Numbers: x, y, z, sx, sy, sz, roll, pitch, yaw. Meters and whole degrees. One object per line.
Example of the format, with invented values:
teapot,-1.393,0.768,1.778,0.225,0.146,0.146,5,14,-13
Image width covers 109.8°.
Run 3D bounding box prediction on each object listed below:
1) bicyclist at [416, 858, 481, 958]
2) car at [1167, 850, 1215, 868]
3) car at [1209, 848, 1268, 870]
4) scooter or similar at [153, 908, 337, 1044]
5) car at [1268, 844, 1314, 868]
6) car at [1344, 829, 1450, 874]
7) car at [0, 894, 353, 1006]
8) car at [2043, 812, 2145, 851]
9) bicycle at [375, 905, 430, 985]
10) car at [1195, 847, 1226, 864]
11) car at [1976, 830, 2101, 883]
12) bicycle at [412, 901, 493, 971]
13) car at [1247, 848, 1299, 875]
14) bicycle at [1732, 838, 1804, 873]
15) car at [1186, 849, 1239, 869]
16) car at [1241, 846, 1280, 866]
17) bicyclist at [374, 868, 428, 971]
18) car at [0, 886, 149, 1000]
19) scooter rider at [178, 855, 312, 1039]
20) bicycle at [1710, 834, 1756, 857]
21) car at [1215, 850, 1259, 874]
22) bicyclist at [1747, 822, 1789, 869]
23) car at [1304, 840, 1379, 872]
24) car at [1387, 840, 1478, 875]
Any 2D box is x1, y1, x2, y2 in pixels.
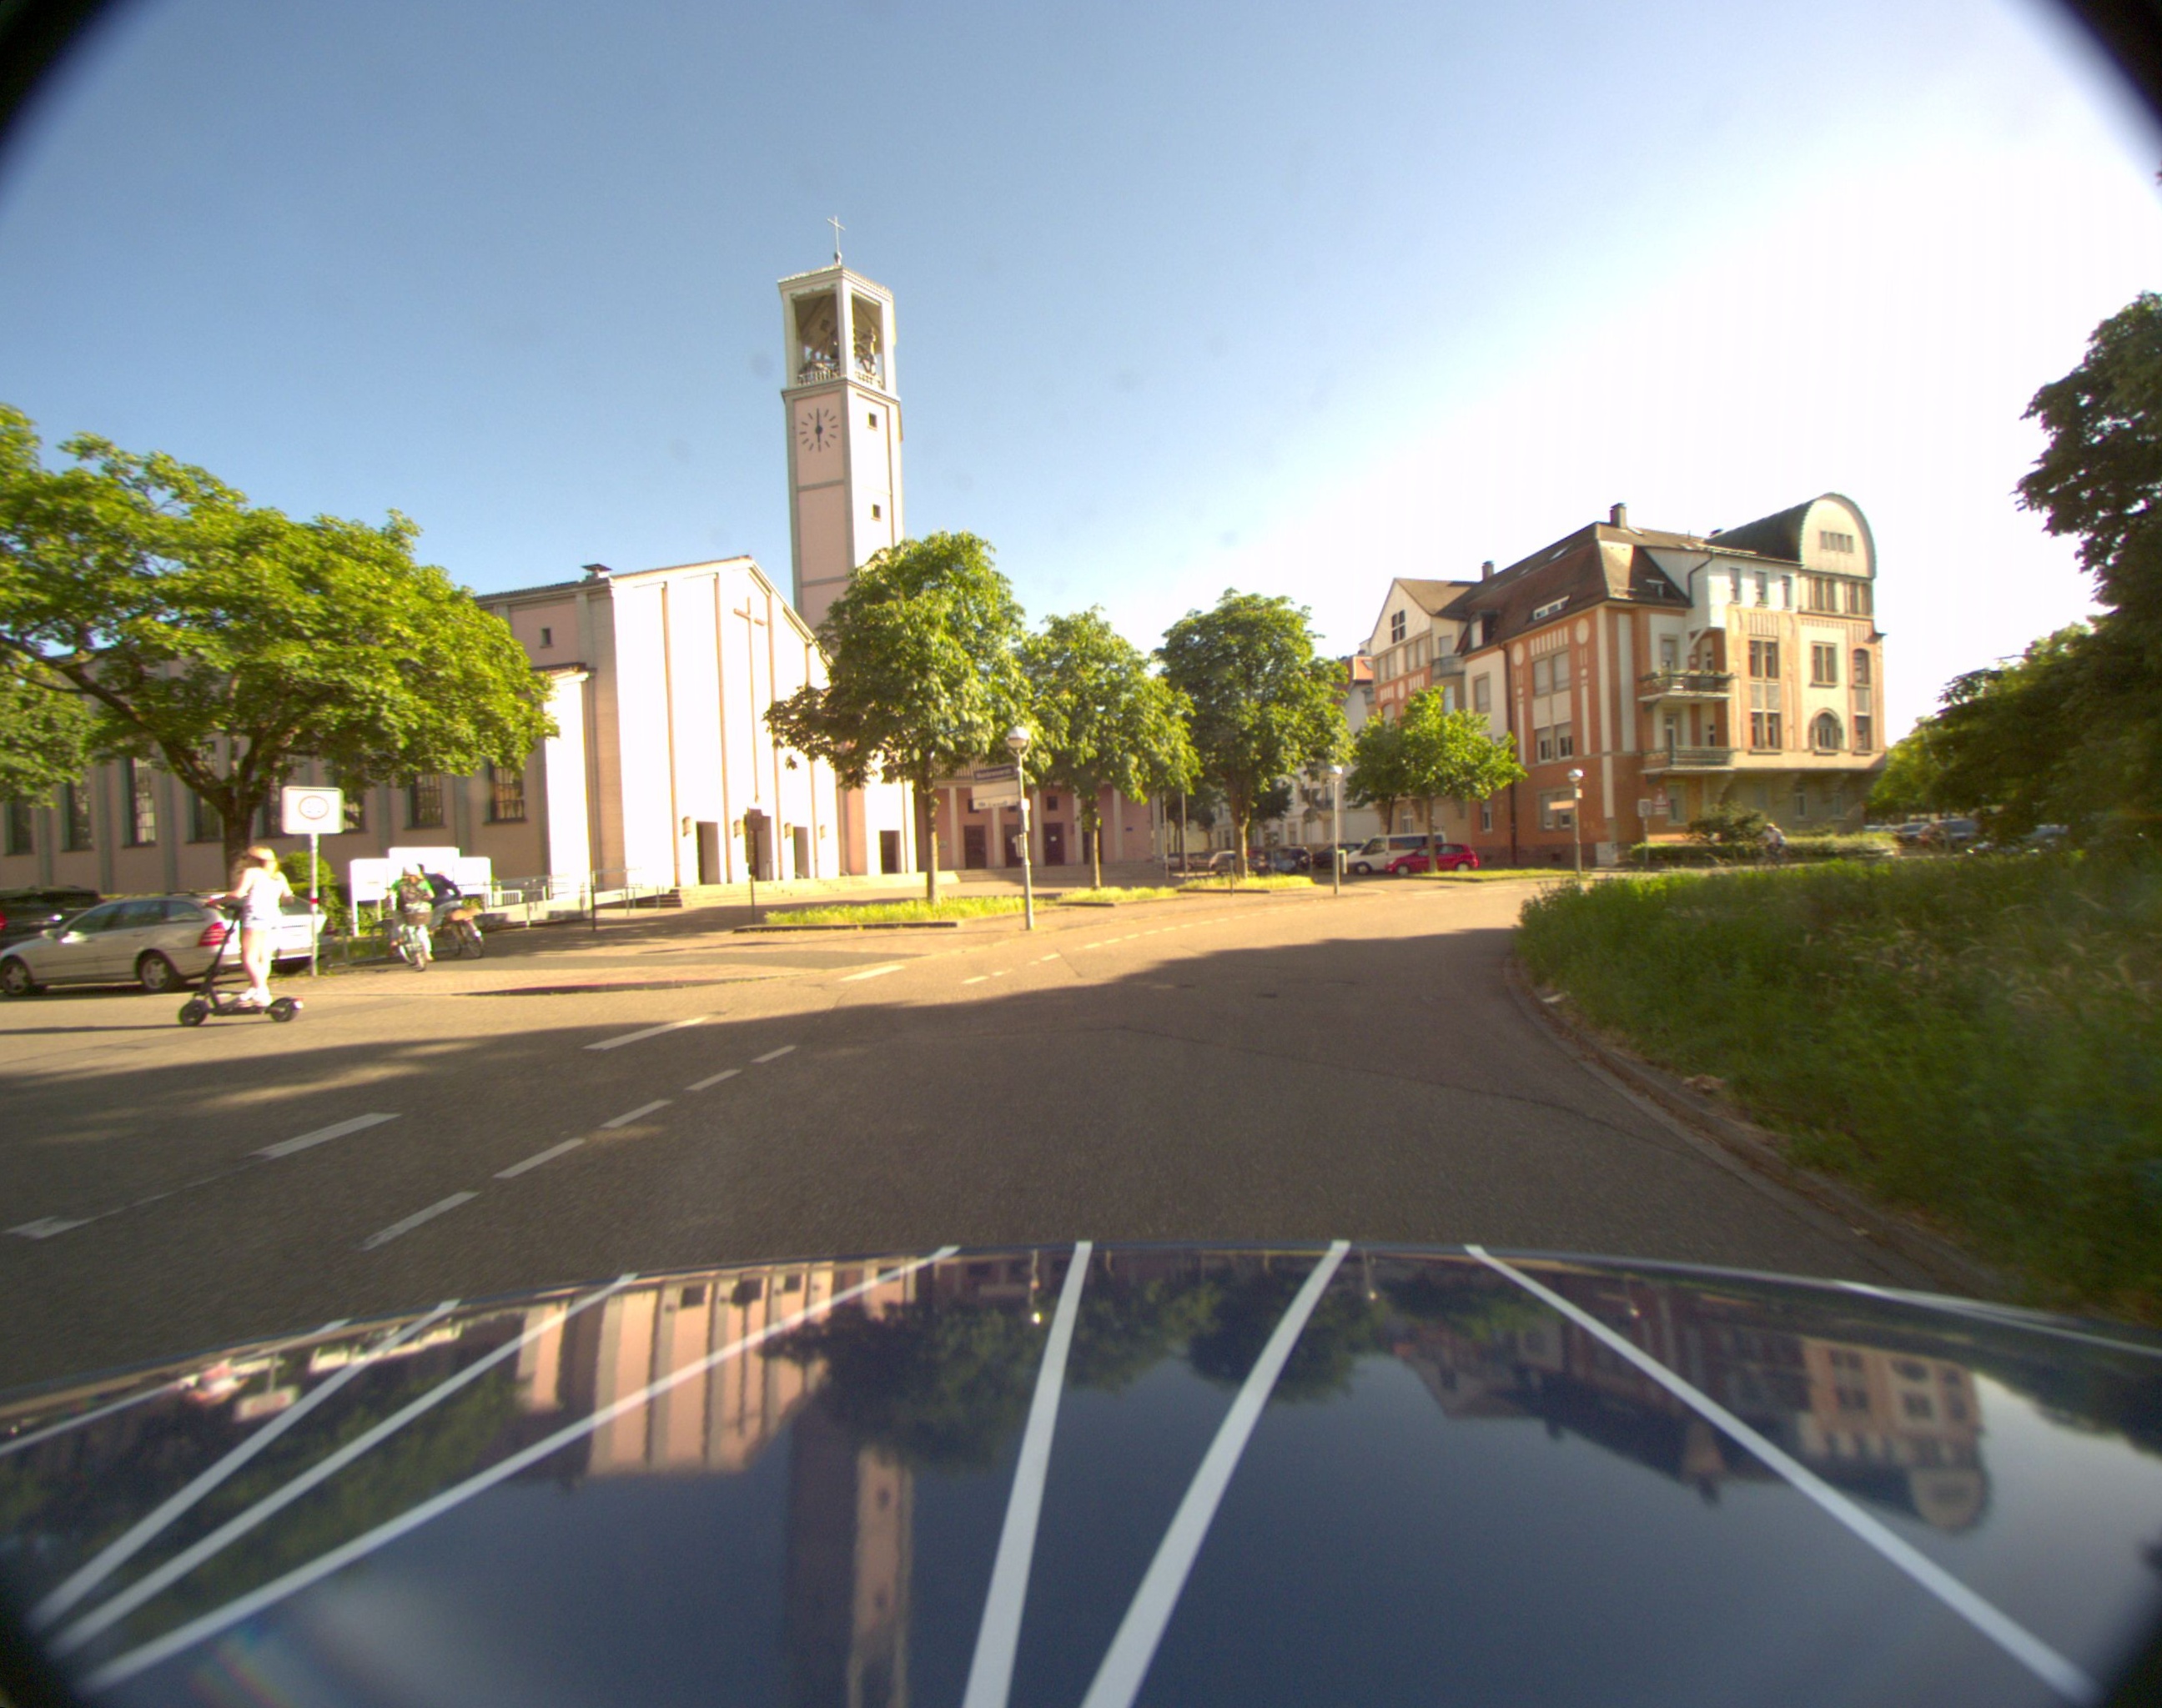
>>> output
bicyclist,-11.308,0.950,13.579,0.721,1.705,0.647,-1,2,36
car,9.969,0.448,68.973,3.946,1.488,1.764,-2,1,26
car,11.806,0.352,57.035,3.946,1.488,1.764,-2,1,26
scooter or similar,-8.725,1.245,7.972,1.106,1.275,0.632,-2,0,-7
car,15.455,0.111,56.073,1.761,1.648,3.952,-2,0,-8
car,15.709,-0.124,37.807,4.694,2.033,1.997,-2,1,24
car,-14.004,1.436,11.643,4.332,1.407,1.811,-2,0,9
car,41.428,-0.909,31.177,1.793,1.426,4.217,-3,-1,44
bicycle,-10.898,1.412,12.205,0.597,1.101,1.858,-2,0,-42
car,12.645,0.125,74.258,1.761,1.608,3.952,-2,0,-8
car,29.261,0.053,23.349,1.793,1.426,4.217,-3,-1,44
bicycle,-11.205,1.423,13.531,1.712,1.101,0.647,-2,2,35
car,11.134,0.428,44.361,1.614,1.414,3.611,-2,0,-9
bicycle,25.527,0.059,28.260,1.868,1.191,0.765,-3,1,5
car,10.959,0.401,63.156,3.946,1.488,1.764,-2,1,26
car,14.573,0.152,61.844,1.761,1.447,3.952,-2,0,-8
bicyclist,-10.892,1.024,12.184,0.597,1.572,0.802,-2,0,-42
car,-18.946,1.513,12.984,4.332,1.718,1.811,-2,0,9
scooter rider,-8.737,0.936,7.971,0.631,1.821,0.625,-2,1,-7
bicycle,31.760,-0.418,37.036,0.500,1.065,1.671,-2,1,-19
car,9.978,0.488,48.847,1.614,1.414,3.611,-2,0,-9
bicyclist,25.517,-0.302,28.238,0.811,1.686,0.765,-2,1,5
car,14.993,0.114,43.769,3.946,1.728,1.764,-2,1,21
car,16.034,0.167,34.845,3.688,1.427,1.671,-2,1,21
